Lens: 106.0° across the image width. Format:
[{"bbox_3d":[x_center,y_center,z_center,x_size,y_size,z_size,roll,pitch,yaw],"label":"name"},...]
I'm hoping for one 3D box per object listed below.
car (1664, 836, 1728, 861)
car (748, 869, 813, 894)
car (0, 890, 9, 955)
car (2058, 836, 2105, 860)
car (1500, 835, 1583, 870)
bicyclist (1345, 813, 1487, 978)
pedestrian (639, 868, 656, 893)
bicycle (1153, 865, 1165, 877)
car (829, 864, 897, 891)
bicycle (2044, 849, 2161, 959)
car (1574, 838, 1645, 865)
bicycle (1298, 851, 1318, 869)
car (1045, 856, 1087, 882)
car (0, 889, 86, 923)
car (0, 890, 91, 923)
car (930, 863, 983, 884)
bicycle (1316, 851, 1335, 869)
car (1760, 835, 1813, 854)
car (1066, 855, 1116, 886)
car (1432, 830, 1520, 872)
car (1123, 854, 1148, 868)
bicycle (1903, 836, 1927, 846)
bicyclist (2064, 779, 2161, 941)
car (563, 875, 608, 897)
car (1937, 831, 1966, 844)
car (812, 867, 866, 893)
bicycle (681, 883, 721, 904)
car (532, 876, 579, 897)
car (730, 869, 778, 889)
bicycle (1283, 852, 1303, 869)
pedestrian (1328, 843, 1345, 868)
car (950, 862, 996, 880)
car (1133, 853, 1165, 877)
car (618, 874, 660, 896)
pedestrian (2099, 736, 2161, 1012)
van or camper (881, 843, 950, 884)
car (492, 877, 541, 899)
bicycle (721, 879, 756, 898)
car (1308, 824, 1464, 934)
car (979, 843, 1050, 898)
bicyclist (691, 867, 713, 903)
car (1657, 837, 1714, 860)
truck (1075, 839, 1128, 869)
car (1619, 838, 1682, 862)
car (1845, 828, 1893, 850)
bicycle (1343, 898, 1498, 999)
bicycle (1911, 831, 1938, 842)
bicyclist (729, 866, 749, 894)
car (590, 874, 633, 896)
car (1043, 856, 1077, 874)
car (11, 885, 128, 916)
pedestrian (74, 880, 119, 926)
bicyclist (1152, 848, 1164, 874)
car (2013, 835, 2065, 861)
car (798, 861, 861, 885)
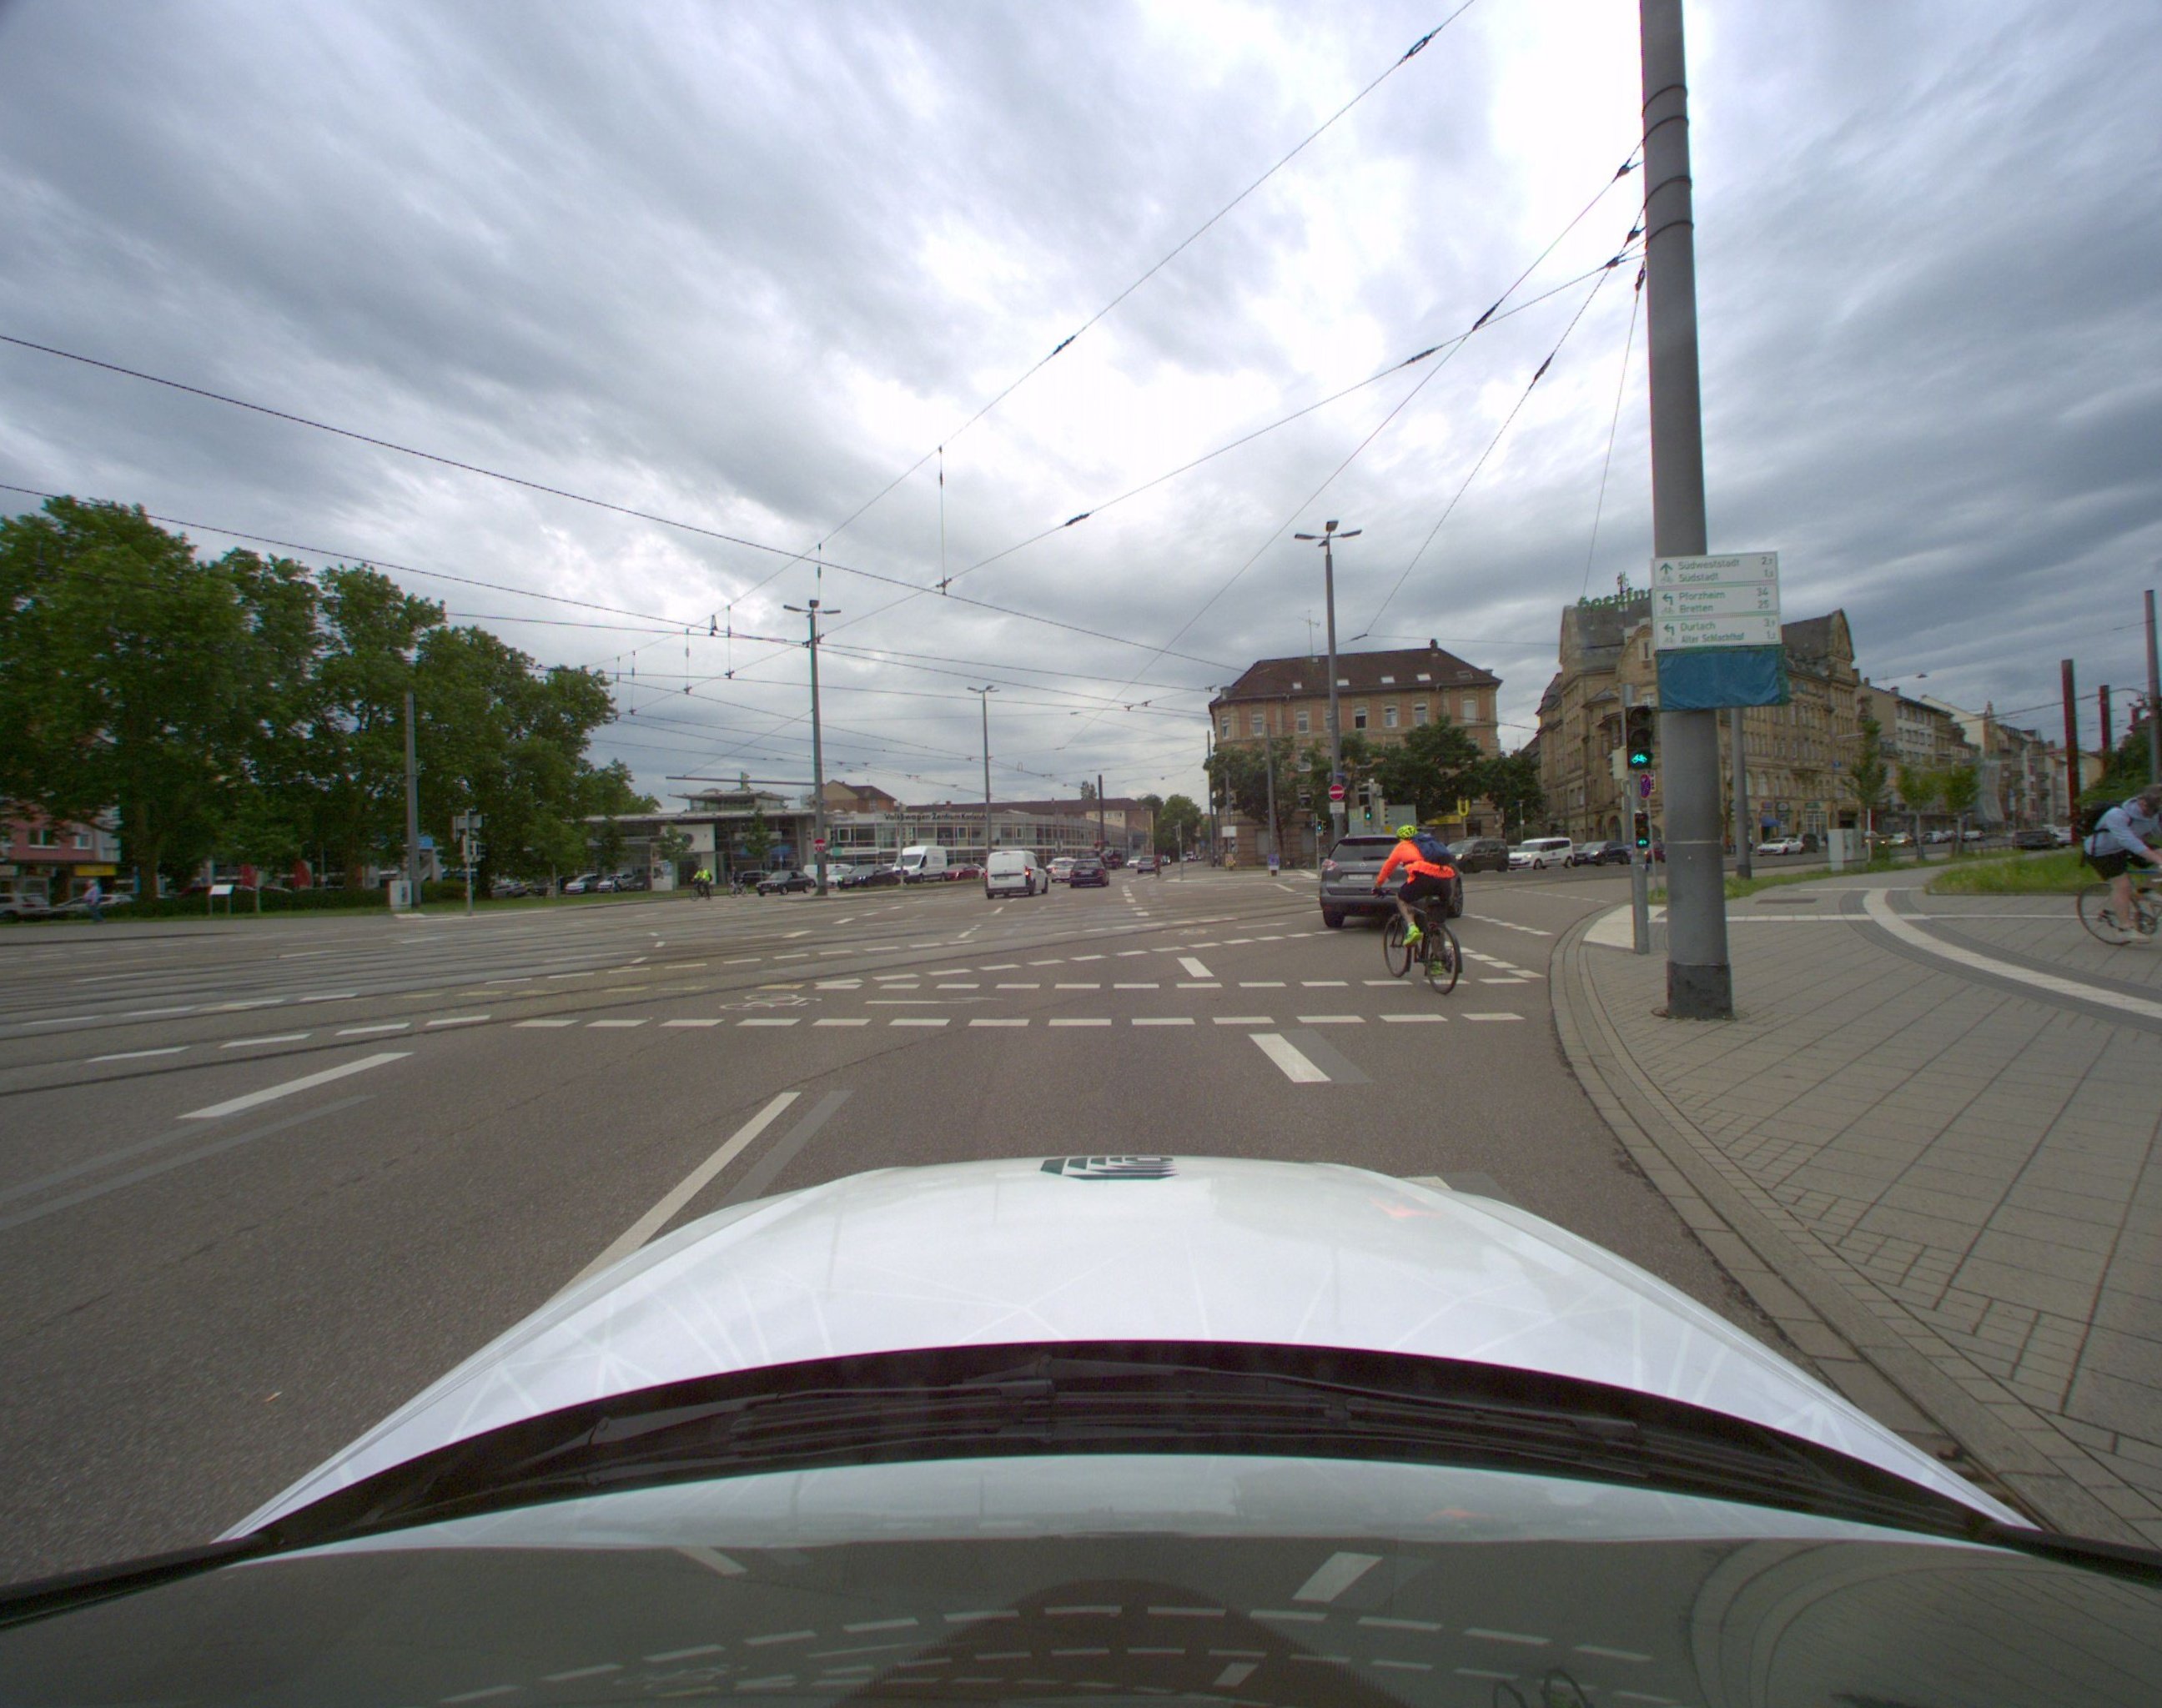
[{"bbox_3d":[38.230,-0.328,50.612,4.012,1.442,1.678,-1,-1,-30],"label":"car"},{"bbox_3d":[-16.842,1.513,45.832,1.675,1.247,3.749,-2,0,11],"label":"car"},{"bbox_3d":[-26.277,1.615,17.367,3.985,1.468,1.770,-2,-1,-8],"label":"car"},{"bbox_3d":[74.568,-0.452,60.682,3.946,1.574,1.742,-2,-3,-34],"label":"car"},{"bbox_3d":[27.393,-0.084,48.355,5.115,1.916,1.851,-2,-1,-29],"label":"car"},{"bbox_3d":[3.566,0.417,8.797,0.826,1.621,1.318,-2,-1,-8],"label":"bicyclist"},{"bbox_3d":[-33.675,2.080,63.245,0.701,1.900,0.867,-1,-1,25],"label":"pedestrian"},{"bbox_3d":[5.216,1.131,54.709,0.617,0.793,1.591,-2,-1,0],"label":"bicycle"},{"bbox_3d":[-12.827,1.372,48.194,1.981,1.420,4.676,-2,0,11],"label":"car"},{"bbox_3d":[10.794,0.467,8.294,0.664,0.933,1.871,-6,-1,32],"label":"bicycle"},{"bbox_3d":[33.206,-0.166,51.123,4.314,1.534,1.851,-2,-2,-29],"label":"car"},{"bbox_3d":[17.860,0.500,63.999,0.949,1.354,3.138,-1,-1,25],"label":"bicycle"},{"bbox_3d":[-0.880,0.927,50.872,1.841,1.508,4.012,-1,-1,11],"label":"car"},{"bbox_3d":[-57.147,2.808,43.867,4.007,1.706,1.983,-1,-1,-26],"label":"car"},{"bbox_3d":[-59.188,2.942,45.770,4.007,1.706,1.983,-1,-1,-26],"label":"car"},{"bbox_3d":[-9.445,1.499,62.230,1.977,1.420,4.824,-2,0,18],"label":"car"},{"bbox_3d":[19.101,0.475,63.609,0.949,1.354,3.138,-1,-1,25],"label":"bicycle"},{"bbox_3d":[55.890,-0.741,64.519,4.271,1.380,1.914,-2,-1,-31],"label":"car"},{"bbox_3d":[0.545,0.797,40.429,1.983,1.420,4.008,-2,-1,7],"label":"car"},{"bbox_3d":[19.329,-0.171,39.802,4.399,1.900,1.678,-1,-1,-30],"label":"car"},{"bbox_3d":[7.486,0.953,110.978,1.976,1.839,4.548,-2,0,23],"label":"car"},{"bbox_3d":[95.722,-1.474,93.491,0.466,1.001,1.905,-1,-1,-40],"label":"bicycle"},{"bbox_3d":[10.745,0.041,8.228,0.684,1.560,0.932,-4,0,31],"label":"bicyclist"},{"bbox_3d":[-49.203,3.145,80.916,1.987,2.014,3.999,-1,-1,0],"label":"car"},{"bbox_3d":[109.612,-2.120,102.530,4.419,1.504,1.763,-2,-1,-34],"label":"car"},{"bbox_3d":[-15.102,1.598,51.085,1.625,1.420,3.749,-2,0,11],"label":"car"},{"bbox_3d":[-19.918,2.057,42.717,0.514,0.930,2.232,-2,0,16],"label":"bicycle"},{"bbox_3d":[-51.853,3.179,80.479,1.987,2.014,3.999,-1,-1,0],"label":"car"},{"bbox_3d":[-26.305,2.006,65.549,1.623,1.420,3.752,-2,0,14],"label":"car"},{"bbox_3d":[16.766,0.522,64.362,0.949,1.354,3.138,-1,-1,25],"label":"bicycle"},{"bbox_3d":[17.791,0.099,56.703,0.909,1.728,0.601,-2,-1,-8],"label":"pedestrian"},{"bbox_3d":[-9.510,1.463,72.126,1.976,1.420,4.775,-2,0,21],"label":"car"},{"bbox_3d":[5.908,0.920,70.724,1.978,2.014,4.017,-1,-1,16],"label":"car"},{"bbox_3d":[-43.854,3.028,80.910,1.987,2.014,3.999,-1,-1,0],"label":"car"},{"bbox_3d":[7.749,0.118,5.173,0.882,1.867,1.286,-2,-1,0],"label":"pedestrian"},{"bbox_3d":[-11.167,0.624,55.572,2.399,2.611,6.071,-1,-1,12],"label":"van or camper"},{"bbox_3d":[-55.706,3.309,80.445,1.987,2.014,3.999,-1,-1,0],"label":"car"},{"bbox_3d":[-19.165,1.901,45.614,0.514,0.926,2.232,-2,0,16],"label":"bicycle"},{"bbox_3d":[5.756,0.391,15.105,1.732,1.756,3.949,-2,0,35],"label":"car"},{"bbox_3d":[-2.517,0.621,31.846,1.902,1.940,4.139,-2,0,7],"label":"car"},{"bbox_3d":[-19.864,1.618,42.737,0.623,1.803,0.801,-2,-1,15],"label":"bicyclist"},{"bbox_3d":[42.658,-0.404,57.449,4.378,1.380,1.734,-2,-3,-33],"label":"car"},{"bbox_3d":[2.660,0.063,101.195,2.768,3.549,9.278,-1,-1,27],"label":"truck"},{"bbox_3d":[37.799,-0.286,54.048,3.907,1.399,1.851,-2,-3,-30],"label":"car"},{"bbox_3d":[68.942,-1.316,71.261,4.927,1.706,1.850,-2,-2,-33],"label":"car"},{"bbox_3d":[3.552,0.952,8.749,0.556,0.848,2.068,-2,-1,-7],"label":"bicycle"},{"bbox_3d":[100.433,-2.084,96.983,0.506,1.126,2.211,-1,-1,-40],"label":"bicycle"},{"bbox_3d":[-19.172,1.478,45.615,0.561,1.508,0.860,-2,1,15],"label":"bicyclist"},{"bbox_3d":[-46.691,3.076,81.071,1.987,2.014,3.999,-1,-1,0],"label":"car"},{"bbox_3d":[-2.303,1.162,90.355,1.976,1.839,4.548,-2,0,23],"label":"car"},{"bbox_3d":[-61.850,2.795,49.901,4.007,1.706,1.983,-1,-1,-26],"label":"car"},{"bbox_3d":[-38.136,1.880,31.560,0.919,1.720,0.700,0,-1,-34],"label":"pedestrian"},{"bbox_3d":[5.155,0.485,54.680,0.685,1.708,0.798,-2,-1,0],"label":"bicyclist"},{"bbox_3d":[60.658,-0.385,51.543,3.946,1.434,1.625,-2,-3,-34],"label":"car"},{"bbox_3d":[-21.587,1.634,70.016,4.735,2.014,2.128,-1,-1,11],"label":"car"}]
